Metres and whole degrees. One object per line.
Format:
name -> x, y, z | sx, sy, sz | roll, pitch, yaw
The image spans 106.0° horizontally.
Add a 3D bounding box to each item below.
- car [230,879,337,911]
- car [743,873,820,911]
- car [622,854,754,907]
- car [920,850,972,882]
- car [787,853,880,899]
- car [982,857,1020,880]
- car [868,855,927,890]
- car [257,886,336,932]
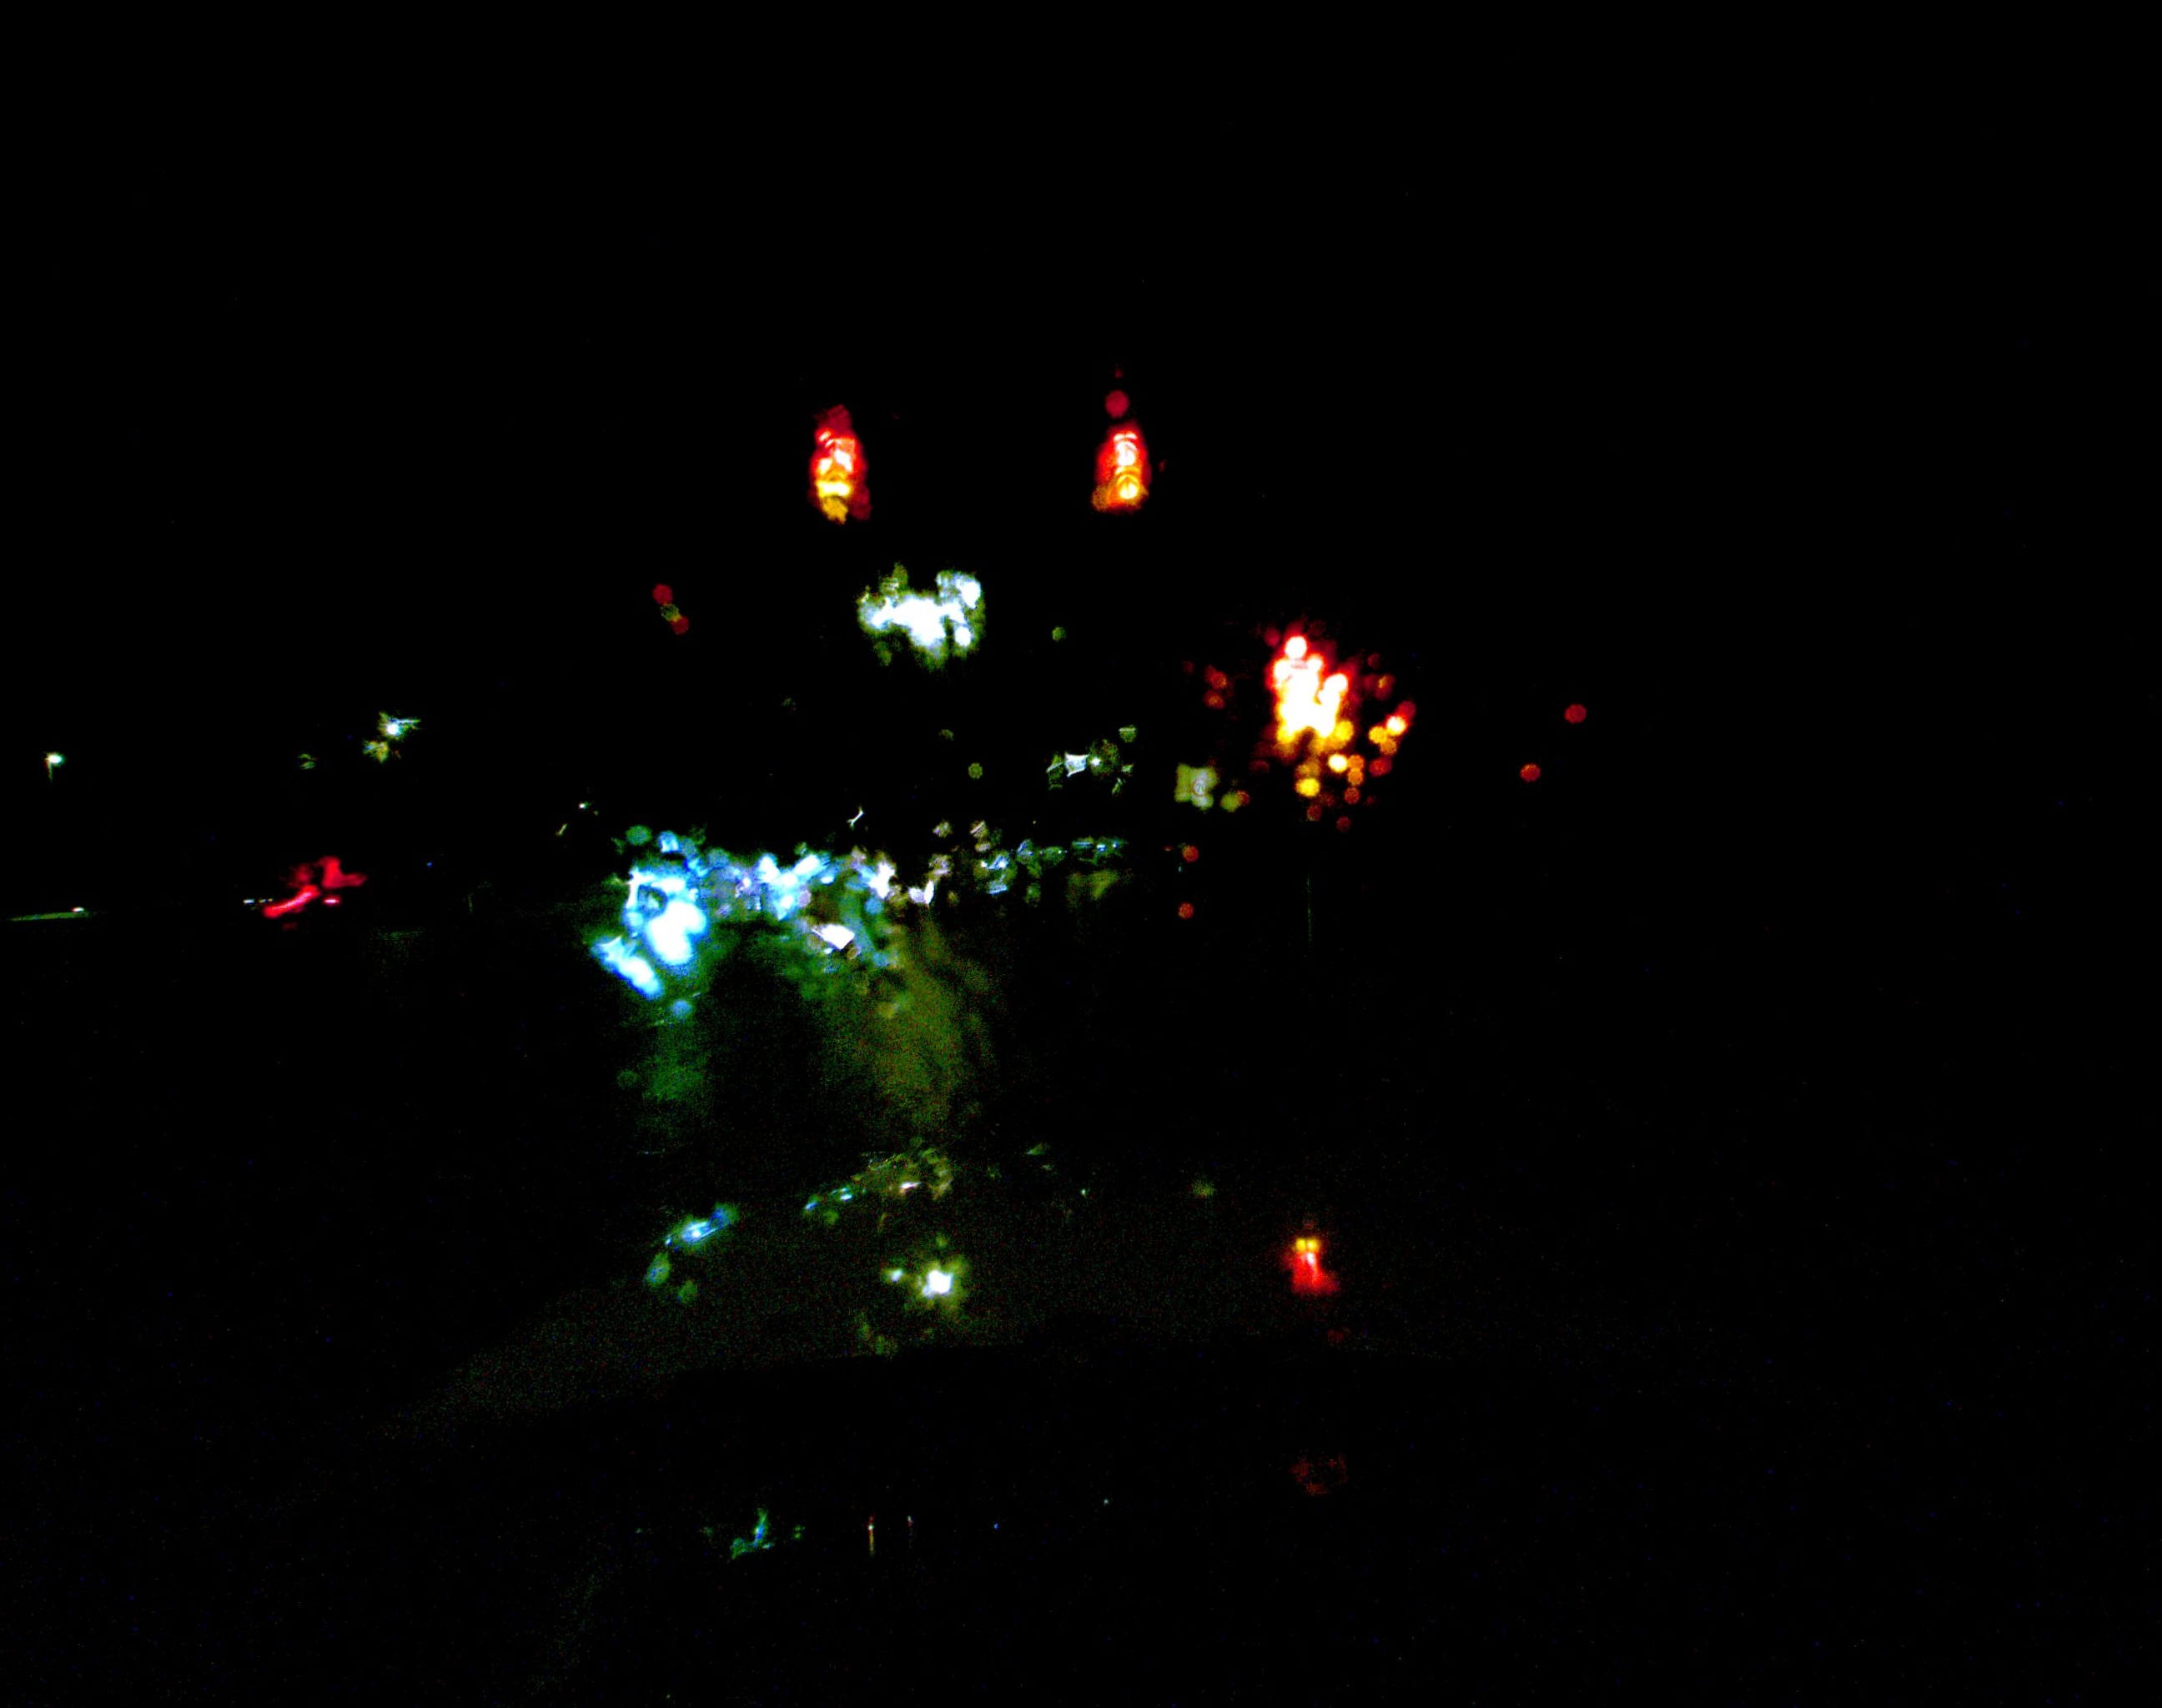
car -> -52.584, 2.679, 53.846 | 1.985, 1.940, 4.929 | -1, -1, 4
car -> -12.475, 1.545, 34.122 | 1.661, 1.454, 3.730 | -1, -1, 3
car -> -12.783, 0.803, 26.883 | 1.785, 1.571, 4.916 | -1, 0, 2
car -> -7.600, 0.659, 46.257 | 1.708, 1.703, 4.151 | -1, -1, 7
car -> -9.158, 0.770, 30.544 | 1.691, 1.571, 4.718 | -1, 0, 5
car -> -5.613, 1.054, 57.756 | 1.699, 1.534, 4.609 | -1, -1, 7
car -> -8.418, 0.850, 37.659 | 1.577, 1.526, 3.657 | -1, -1, 6
car -> -35.269, 2.422, 36.597 | 3.948, 1.831, 1.733 | -2, 0, 34
